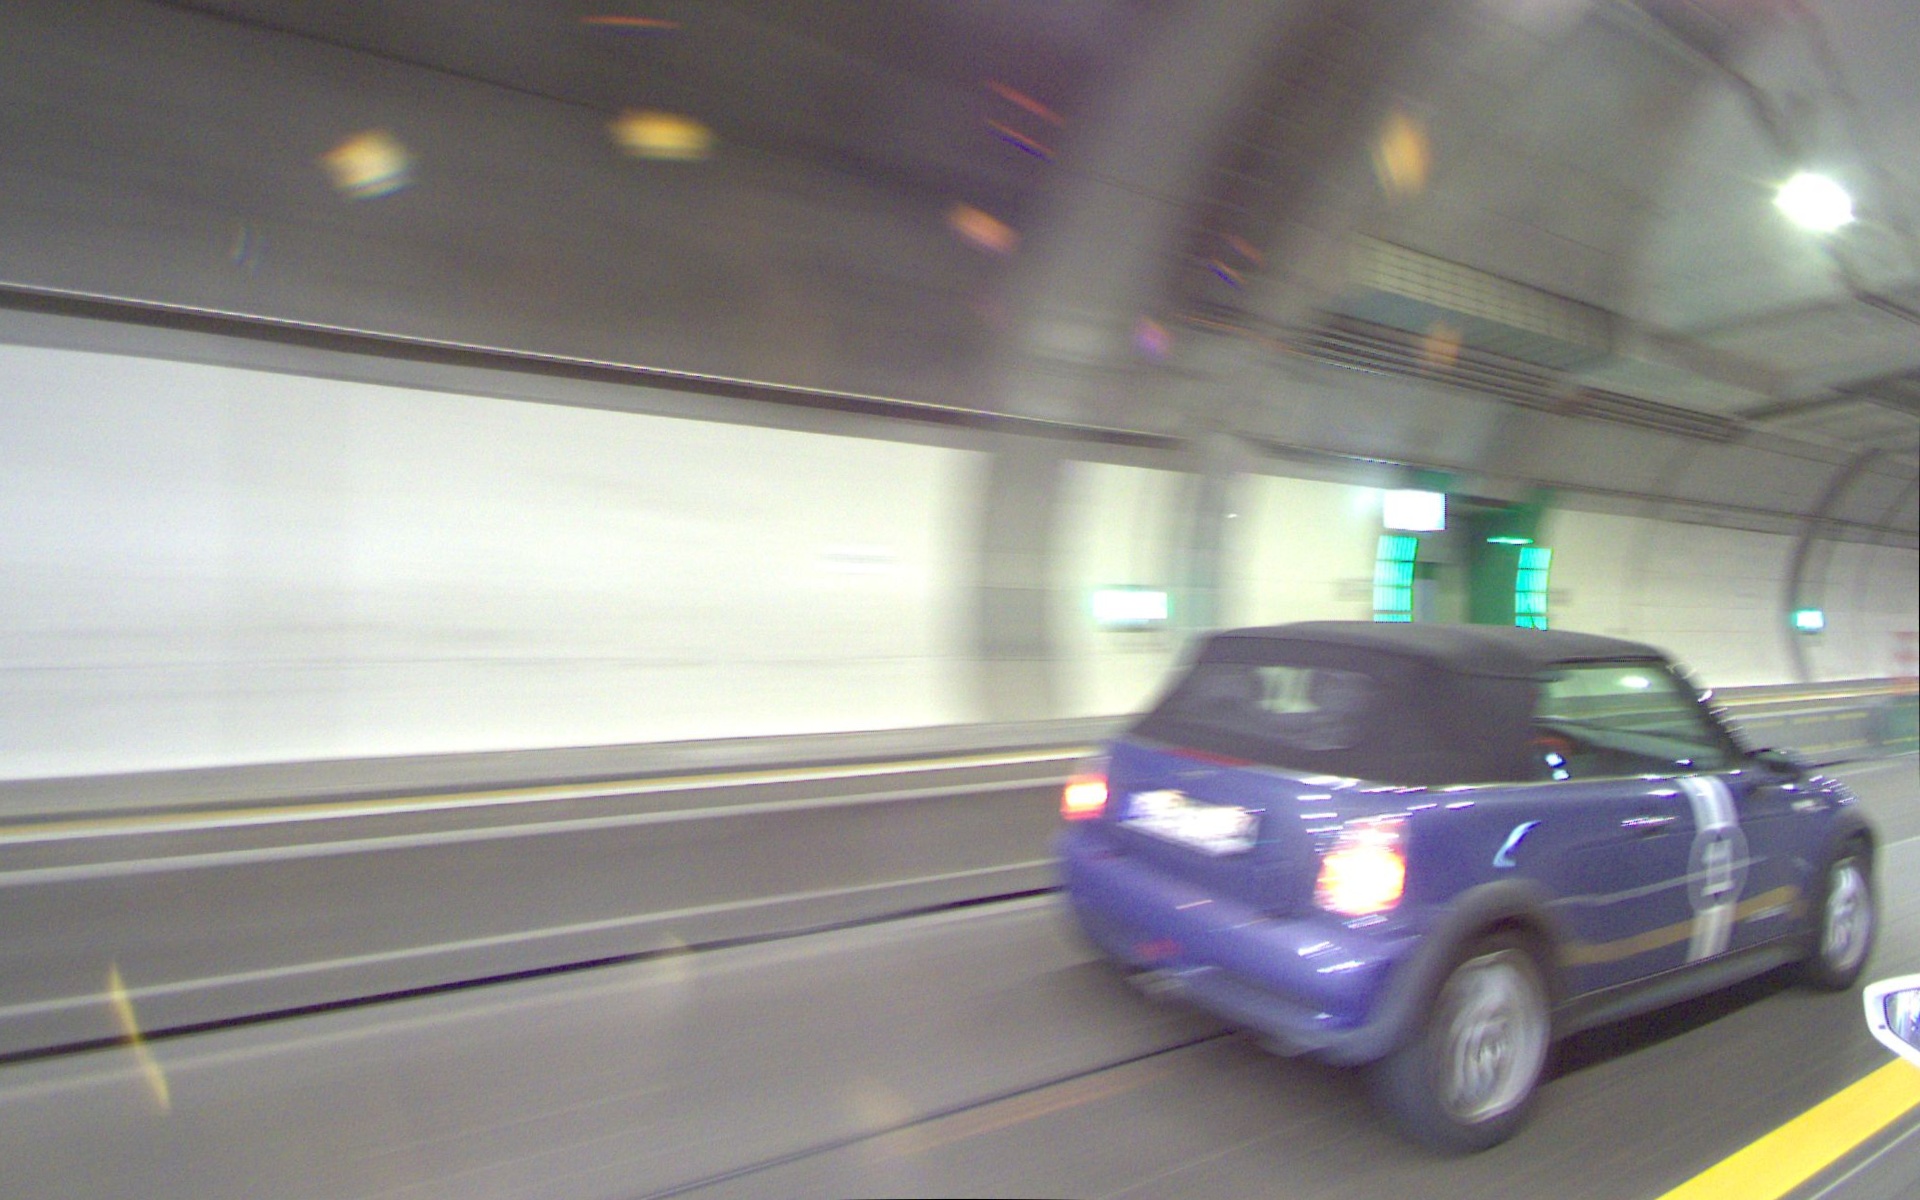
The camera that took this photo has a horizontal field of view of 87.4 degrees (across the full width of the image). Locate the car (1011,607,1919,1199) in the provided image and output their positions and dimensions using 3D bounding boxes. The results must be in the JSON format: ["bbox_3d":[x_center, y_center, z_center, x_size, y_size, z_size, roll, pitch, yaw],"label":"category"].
[{"bbox_3d":[2.291,0.797,4.108,3.878,1.436,1.680,1,0,-31],"label":"car"}]
